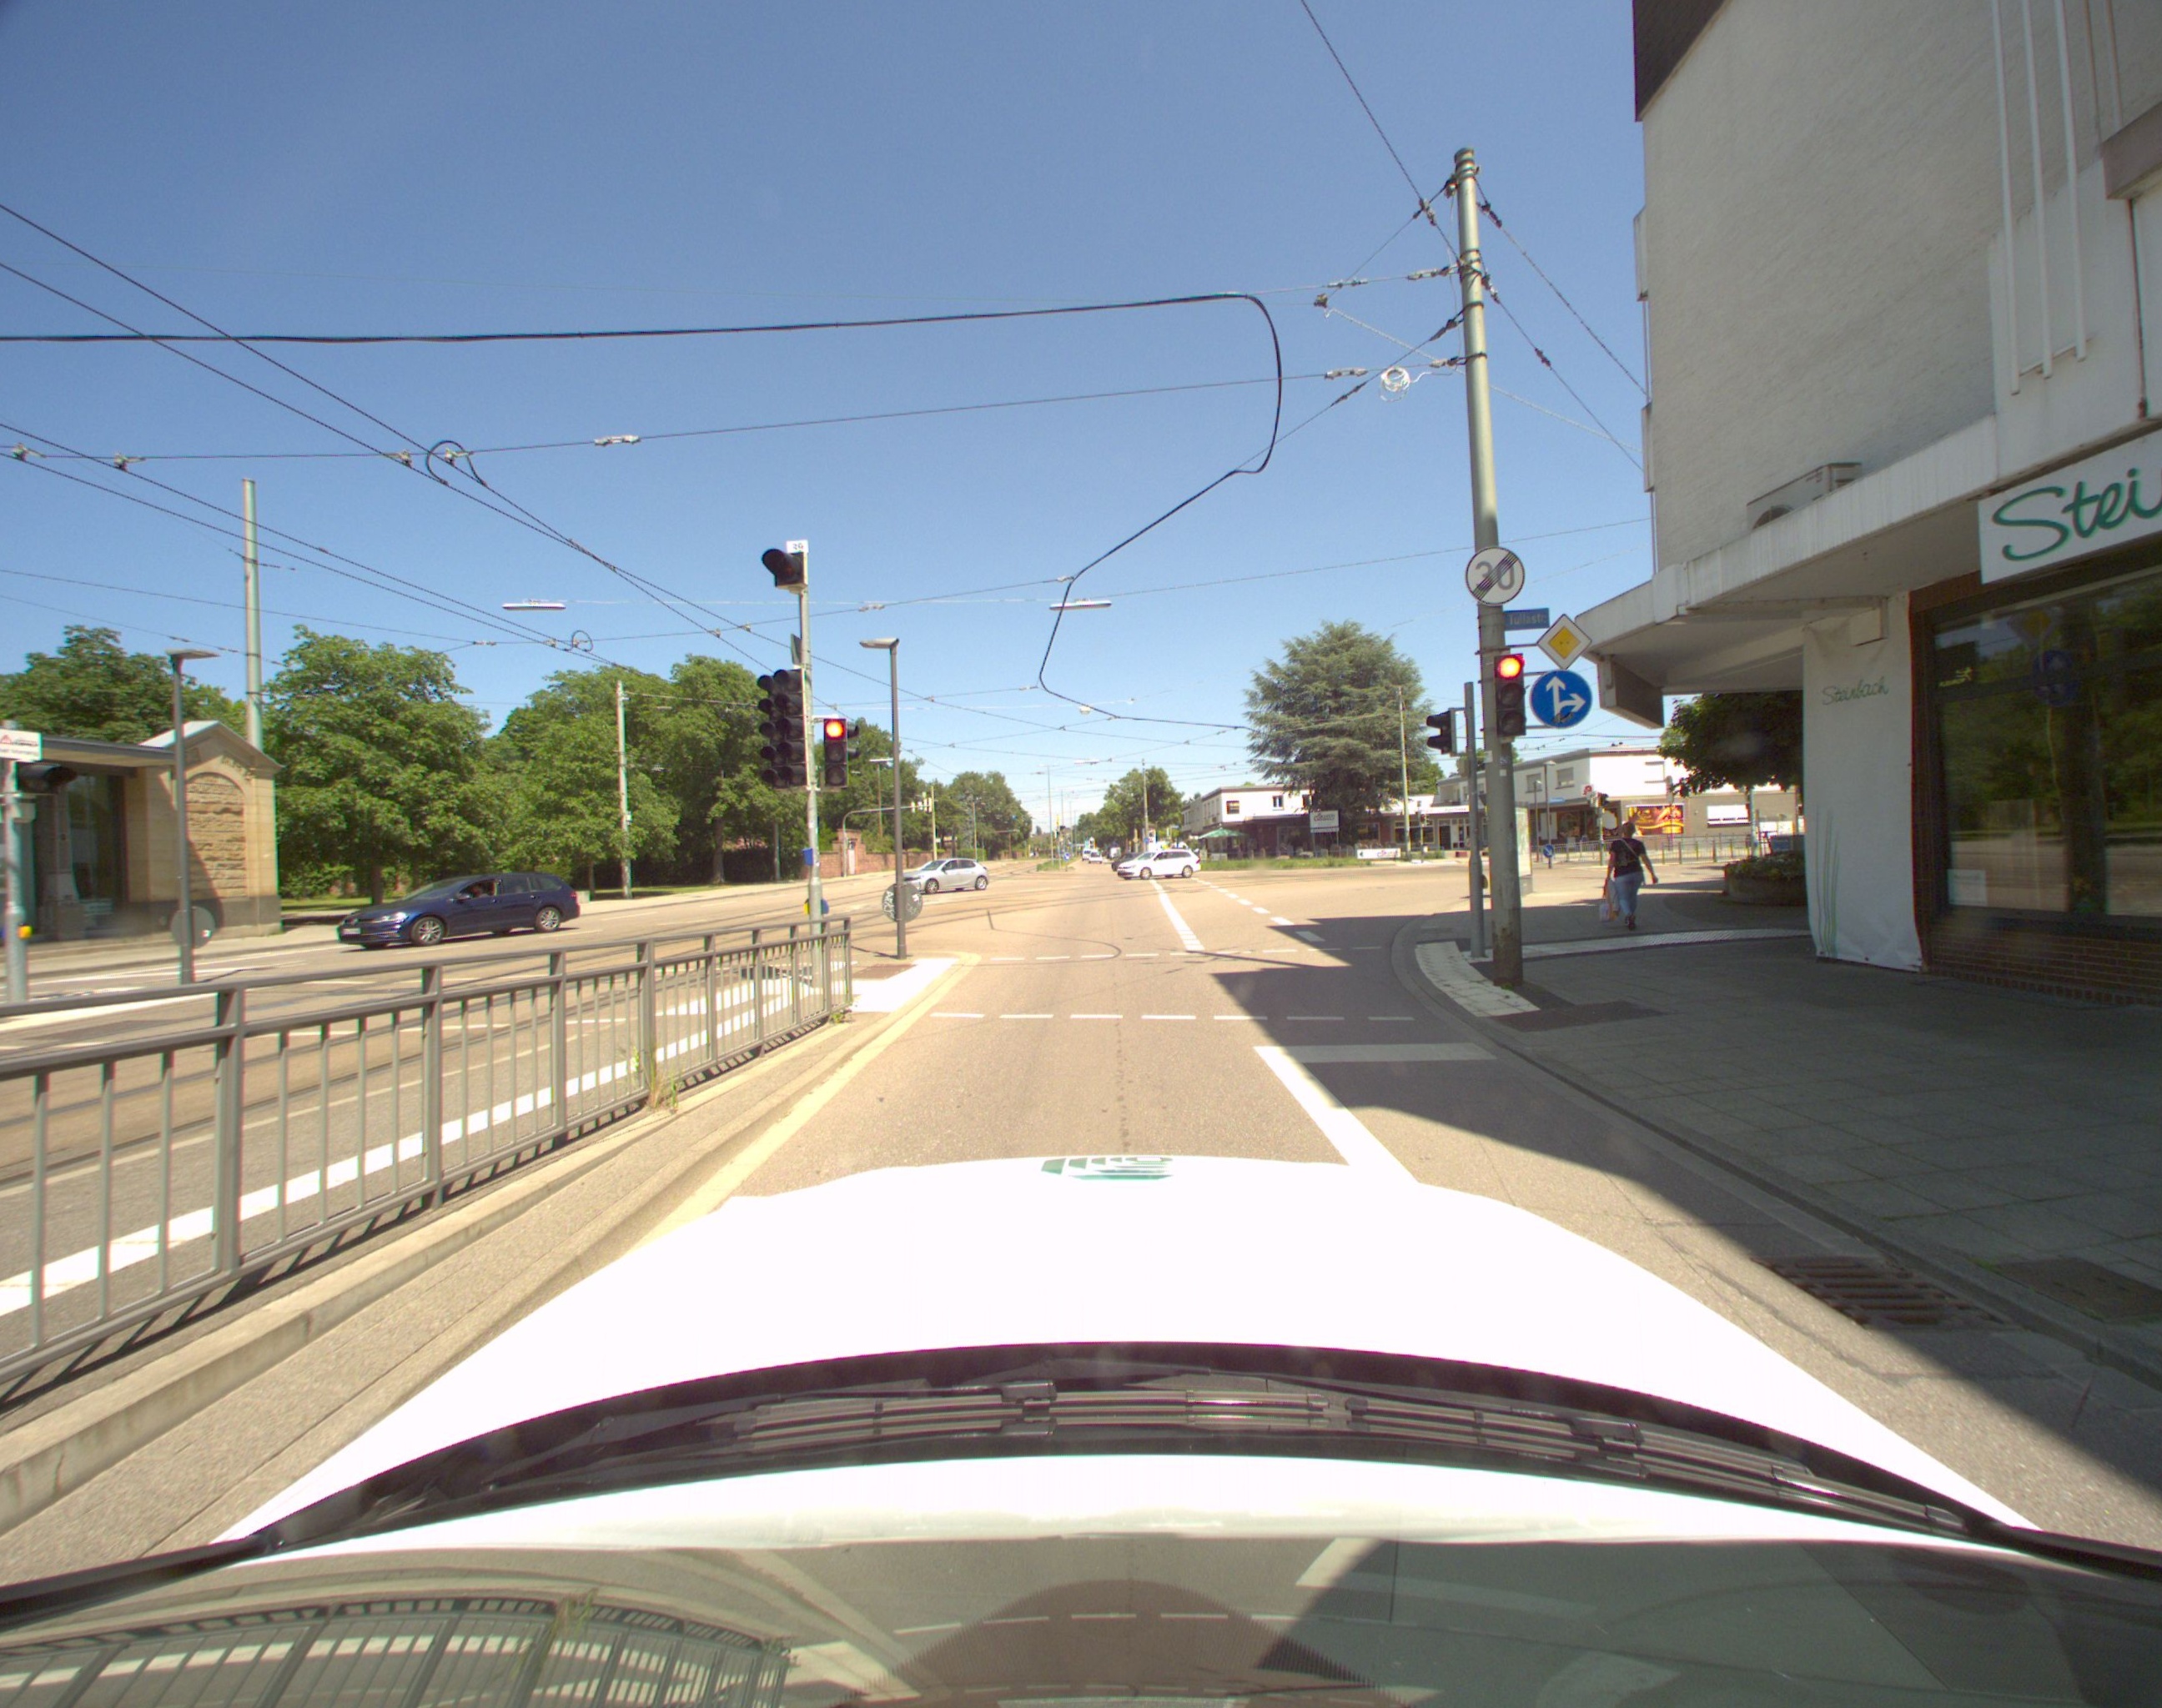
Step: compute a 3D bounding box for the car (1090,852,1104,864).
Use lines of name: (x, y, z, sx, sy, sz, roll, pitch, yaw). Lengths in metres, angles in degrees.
car: (2.055, 0.461, 102.122, 1.664, 1.435, 3.476, -2, 0, 2)

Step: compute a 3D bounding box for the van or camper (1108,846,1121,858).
van or camper: (5.358, -0.355, 130.453, 1.915, 1.772, 4.001, -2, 0, 2)

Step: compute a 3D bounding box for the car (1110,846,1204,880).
car: (3.877, 0.447, 41.203, 4.513, 1.489, 1.806, -2, 0, -31)

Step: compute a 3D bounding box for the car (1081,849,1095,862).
car: (1.065, 0.210, 125.880, 1.988, 1.860, 3.998, -2, 0, -1)

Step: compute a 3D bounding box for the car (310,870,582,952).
car: (-13.849, 1.175, 18.173, 1.842, 1.442, 4.498, -2, 0, 17)

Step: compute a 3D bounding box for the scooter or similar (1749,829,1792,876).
scooter or similar: (18.665, -0.040, 22.042, 1.258, 1.212, 0.391, -2, 0, -26)

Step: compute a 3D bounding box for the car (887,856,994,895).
car: (-5.867, 0.881, 34.283, 4.075, 1.362, 1.801, -3, 0, -45)

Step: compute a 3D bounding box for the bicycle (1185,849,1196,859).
bicycle: (11.327, -0.005, 84.393, 1.028, 1.014, 2.643, -2, 0, 8)

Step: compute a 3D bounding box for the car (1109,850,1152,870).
car: (3.673, 0.459, 61.280, 1.645, 1.351, 3.810, -2, 0, -25)

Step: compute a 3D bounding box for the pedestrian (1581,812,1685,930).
pedestrian: (7.988, 0.240, 11.828, 0.822, 1.583, 0.828, -6, -1, 7)

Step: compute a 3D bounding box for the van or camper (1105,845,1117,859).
van or camper: (5.581, -0.378, 152.932, 1.988, 2.464, 3.998, -2, 0, -2)

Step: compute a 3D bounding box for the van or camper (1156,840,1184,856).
van or camper: (15.620, -1.099, 143.107, 4.742, 2.671, 2.135, -2, 0, -1)
